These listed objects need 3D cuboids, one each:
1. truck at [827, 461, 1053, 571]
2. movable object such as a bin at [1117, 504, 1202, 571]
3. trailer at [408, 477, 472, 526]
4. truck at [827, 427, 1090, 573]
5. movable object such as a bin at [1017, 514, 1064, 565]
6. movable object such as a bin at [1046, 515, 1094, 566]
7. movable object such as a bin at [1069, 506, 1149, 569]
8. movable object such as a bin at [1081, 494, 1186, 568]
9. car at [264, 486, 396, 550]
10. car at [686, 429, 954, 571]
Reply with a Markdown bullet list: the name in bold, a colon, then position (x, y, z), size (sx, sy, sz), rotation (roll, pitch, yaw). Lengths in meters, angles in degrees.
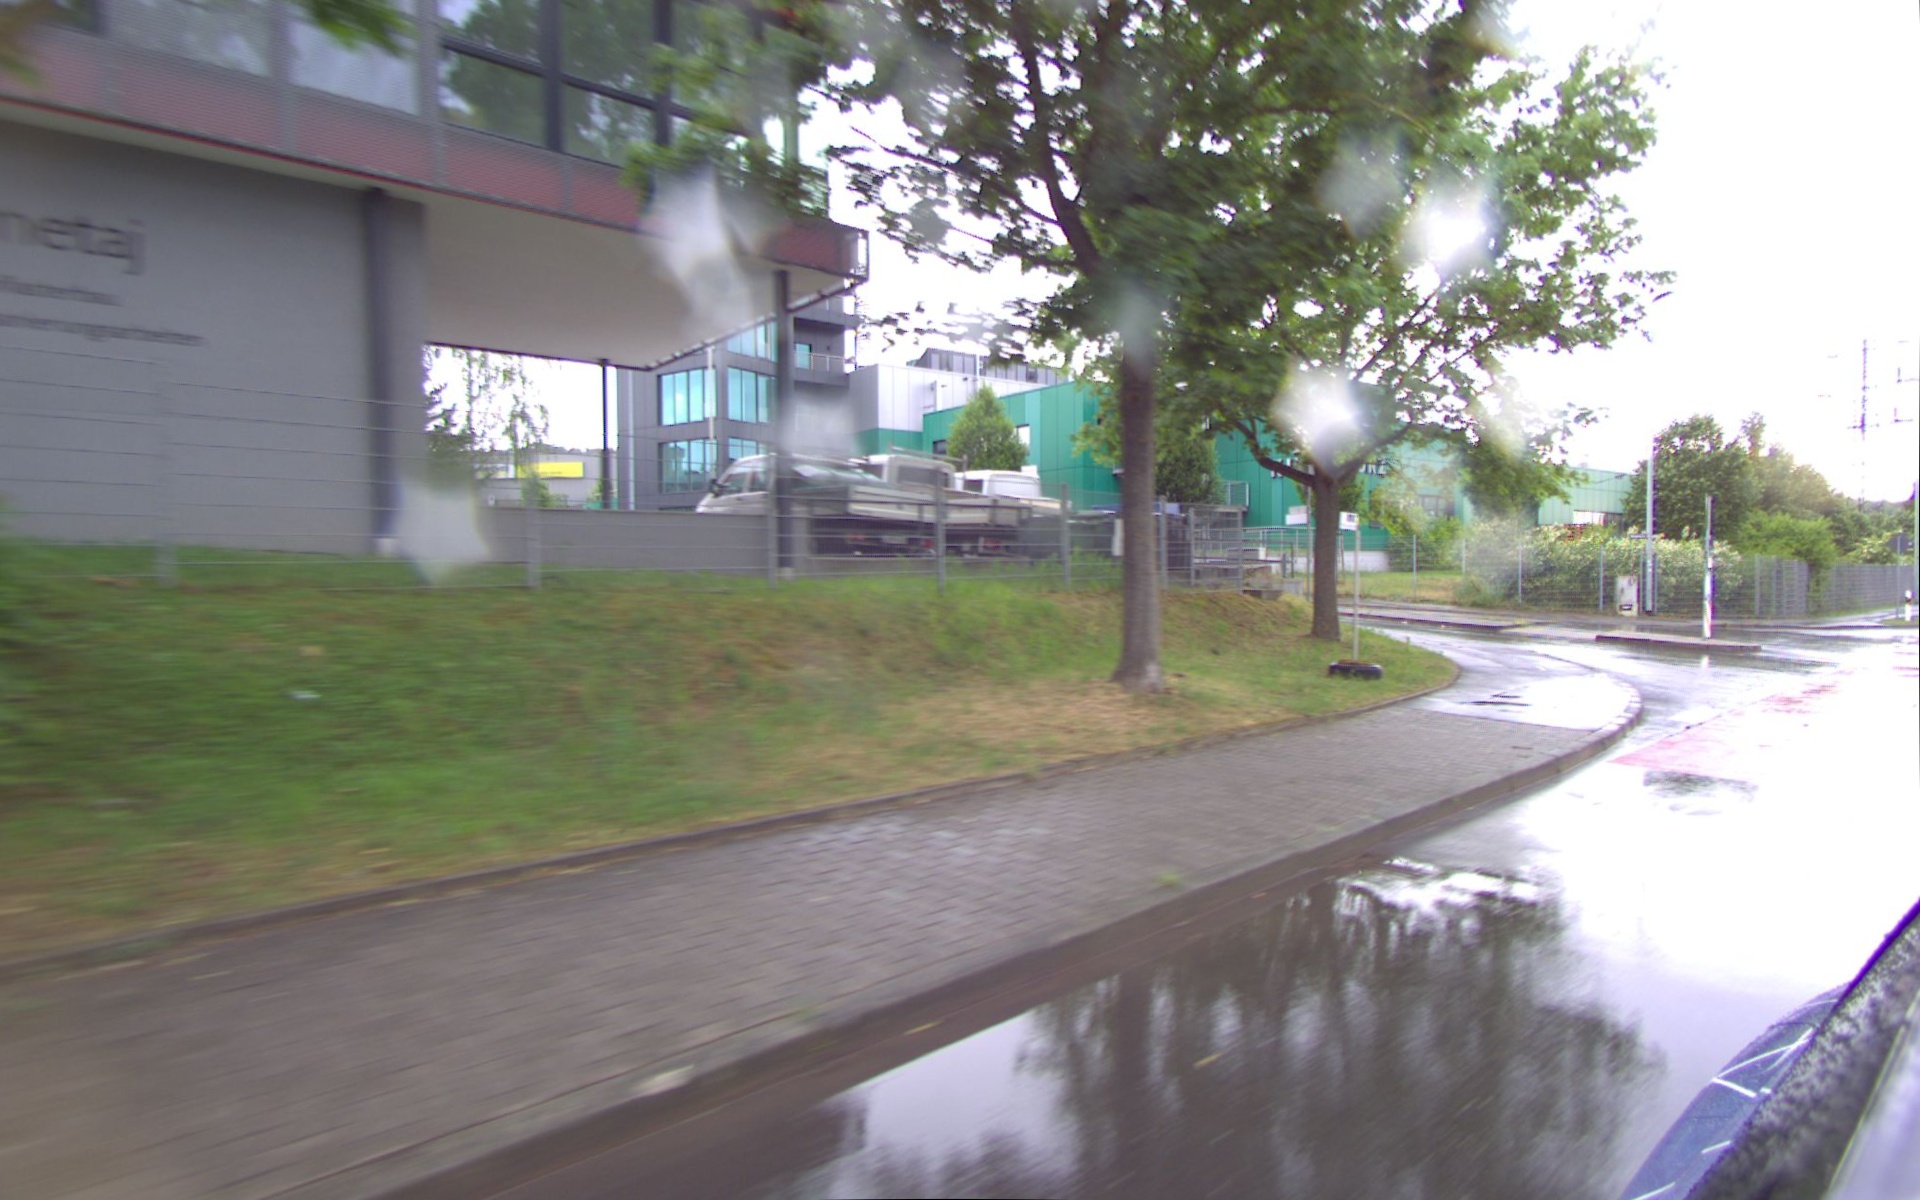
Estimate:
- **truck**: position (-0.624, -1.950, 23.709), size (2.076, 2.240, 5.645), rotation (0, 4, -42)
- **movable object such as a bin**: position (3.674, -1.154, 18.634), size (1.123, 1.176, 1.026), rotation (-1, 4, -42)
- **trailer**: position (-47.135, -8.903, 91.821), size (4.611, 4.138, 2.390), rotation (2, 3, 1)
- **truck**: position (-0.166, -1.805, 19.025), size (2.213, 2.370, 4.828), rotation (-1, 4, -43)
- **movable object such as a bin**: position (1.319, -0.986, 16.578), size (0.514, 0.811, 0.539), rotation (-1, 4, -42)
- **movable object such as a bin**: position (1.851, -0.997, 17.062), size (0.556, 0.827, 0.539), rotation (-1, 4, -42)
- **movable object such as a bin**: position (2.618, -1.104, 17.776), size (1.034, 1.055, 0.883), rotation (-1, 4, -40)
- **movable object such as a bin**: position (3.772, -1.494, 22.013), size (1.847, 1.518, 1.295), rotation (4, 4, 34)
- **car**: position (-16.129, -2.077, 25.926), size (2.672, 1.464, 1.677), rotation (0, 3, -39)
- **car**: position (-2.521, -1.639, 17.134), size (2.028, 2.038, 4.930), rotation (-1, 4, -43)
